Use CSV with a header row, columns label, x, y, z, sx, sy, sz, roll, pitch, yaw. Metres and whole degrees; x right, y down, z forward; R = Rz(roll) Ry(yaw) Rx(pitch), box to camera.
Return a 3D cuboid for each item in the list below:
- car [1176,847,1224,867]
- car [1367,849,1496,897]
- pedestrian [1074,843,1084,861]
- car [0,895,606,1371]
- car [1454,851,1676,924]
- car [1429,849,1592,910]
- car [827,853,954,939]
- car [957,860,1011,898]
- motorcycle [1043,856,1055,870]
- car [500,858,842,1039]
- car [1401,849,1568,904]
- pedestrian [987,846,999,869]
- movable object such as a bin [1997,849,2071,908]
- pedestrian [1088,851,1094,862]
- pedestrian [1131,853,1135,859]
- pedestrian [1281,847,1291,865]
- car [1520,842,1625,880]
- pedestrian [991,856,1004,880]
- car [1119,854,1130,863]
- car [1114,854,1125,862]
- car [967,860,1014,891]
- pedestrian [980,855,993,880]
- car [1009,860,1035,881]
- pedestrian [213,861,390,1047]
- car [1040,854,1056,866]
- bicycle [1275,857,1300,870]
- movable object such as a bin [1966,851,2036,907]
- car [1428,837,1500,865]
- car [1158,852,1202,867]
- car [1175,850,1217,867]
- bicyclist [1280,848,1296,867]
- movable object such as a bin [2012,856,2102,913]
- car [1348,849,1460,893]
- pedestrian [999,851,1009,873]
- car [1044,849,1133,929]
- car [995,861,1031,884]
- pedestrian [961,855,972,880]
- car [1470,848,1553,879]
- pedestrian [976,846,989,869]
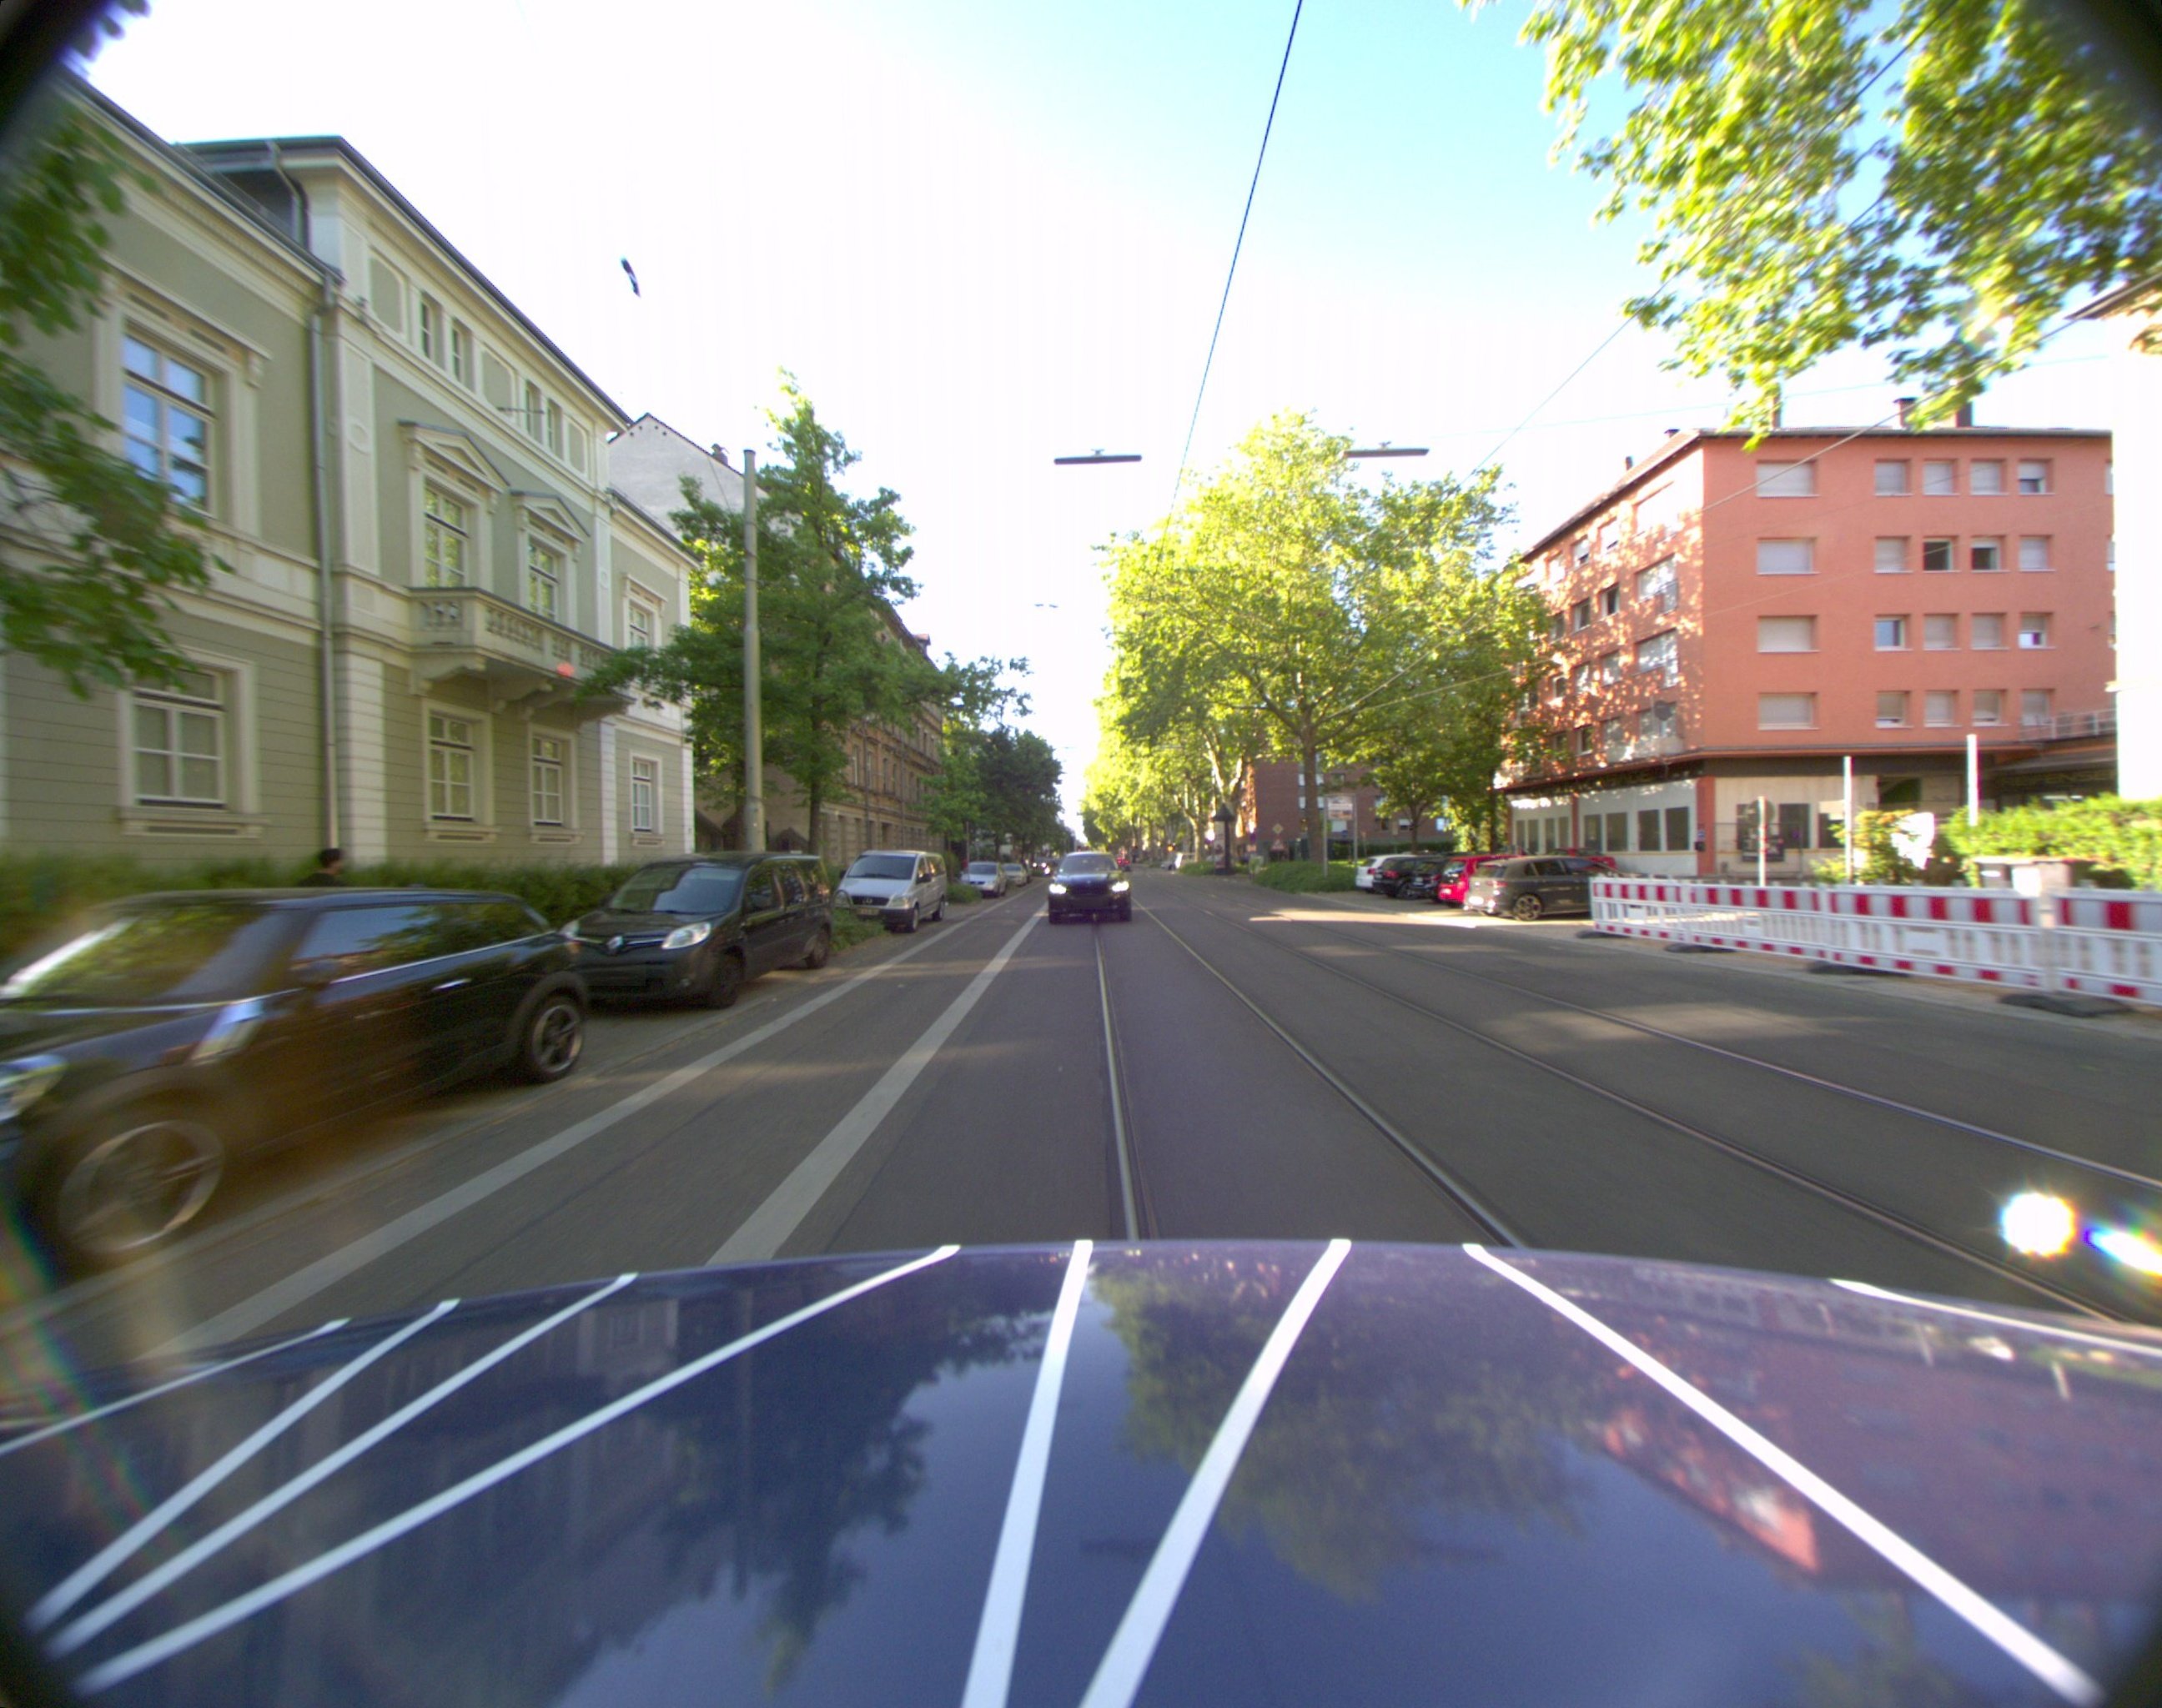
label,x,y,z,sx,sy,sz,roll,pitch,yaw
car,12.173,0.331,77.899,4.582,1.823,1.938,-2,1,-1
car,11.845,0.629,25.846,3.610,1.456,1.687,-2,1,3
pedestrian,-0.216,-0.209,83.822,0.870,1.874,0.996,-3,1,-17
car,-4.814,1.116,4.330,1.716,1.505,4.036,1,0,-1
car,11.237,0.739,17.860,3.997,1.456,1.854,-2,1,0
car,11.712,0.668,20.898,3.427,1.456,1.759,-2,1,3
car,-4.610,0.915,19.222,1.888,1.840,4.967,1,0,1
car,-4.367,1.093,34.866,1.888,1.559,4.242,1,0,1
motorcycle,-3.544,0.960,84.212,1.054,1.446,2.208,-2,1,1
car,-4.875,0.970,10.008,1.890,1.756,4.678,-1,0,1
car,12.203,0.666,23.175,4.092,1.456,1.821,-2,1,3
pedestrian,-6.990,0.253,60.177,0.727,1.782,0.854,0,1,11
movable object such as a bin,18.725,0.471,14.938,0.725,1.103,0.560,-2,1,2
pedestrian,1.618,0.407,121.343,0.836,1.703,0.640,-2,1,2
pedestrian,11.410,0.477,166.301,0.708,1.197,0.473,-2,1,2
pedestrian,19.263,0.171,71.350,0.711,1.663,0.779,-2,1,0
car,21.026,0.272,32.710,1.952,1.478,4.000,-2,0,1
pedestrian,-5.840,0.980,53.385,0.728,1.683,0.956,-2,1,-1
car,7.296,0.786,127.734,1.665,1.435,3.473,-2,0,1
car,7.396,0.796,146.398,1.820,1.559,4.116,0,0,1
car,-4.704,1.087,40.113,1.888,1.458,4.593,1,0,1
pedestrian,-6.658,0.966,53.455,0.728,1.699,0.856,-2,1,-2
car,-4.267,1.182,55.547,1.677,1.404,3.842,1,0,-1
pedestrian,-7.559,0.925,7.417,0.831,1.701,0.836,1,-1,2
car,-4.330,0.786,100.292,1.766,1.612,4.442,0,0,2
bicycle,16.359,0.725,60.270,0.971,0.993,2.581,-2,0,-9
movable object such as a bin,18.745,0.506,15.494,0.726,1.103,0.543,-2,1,2
car,22.643,-0.163,45.094,1.818,1.484,3.996,-2,0,-9
car,11.568,0.619,88.849,4.776,1.452,1.954,-2,1,-1
car,12.254,0.484,80.941,4.150,1.637,1.902,-2,1,-1
bicyclist,16.364,0.285,60.108,0.802,1.498,1.116,-2,1,-10
movable object such as a bin,18.341,0.565,14.299,0.723,1.016,0.736,-2,1,2
car,12.028,0.603,28.440,3.427,1.456,1.697,-2,1,3
pedestrian,-6.291,0.659,62.191,0.728,1.783,0.600,-2,1,1
car,0.210,0.784,19.806,1.937,1.718,5.072,-3,0,1
car,-4.329,1.171,49.020,1.888,1.360,4.106,1,0,1
pedestrian,-8.013,0.940,53.381,0.600,1.783,0.728,-2,1,-2
car,21.344,0.453,37.844,1.952,1.399,3.892,-2,0,1
pedestrian,-7.765,0.286,60.084,0.727,1.782,0.969,0,1,11
